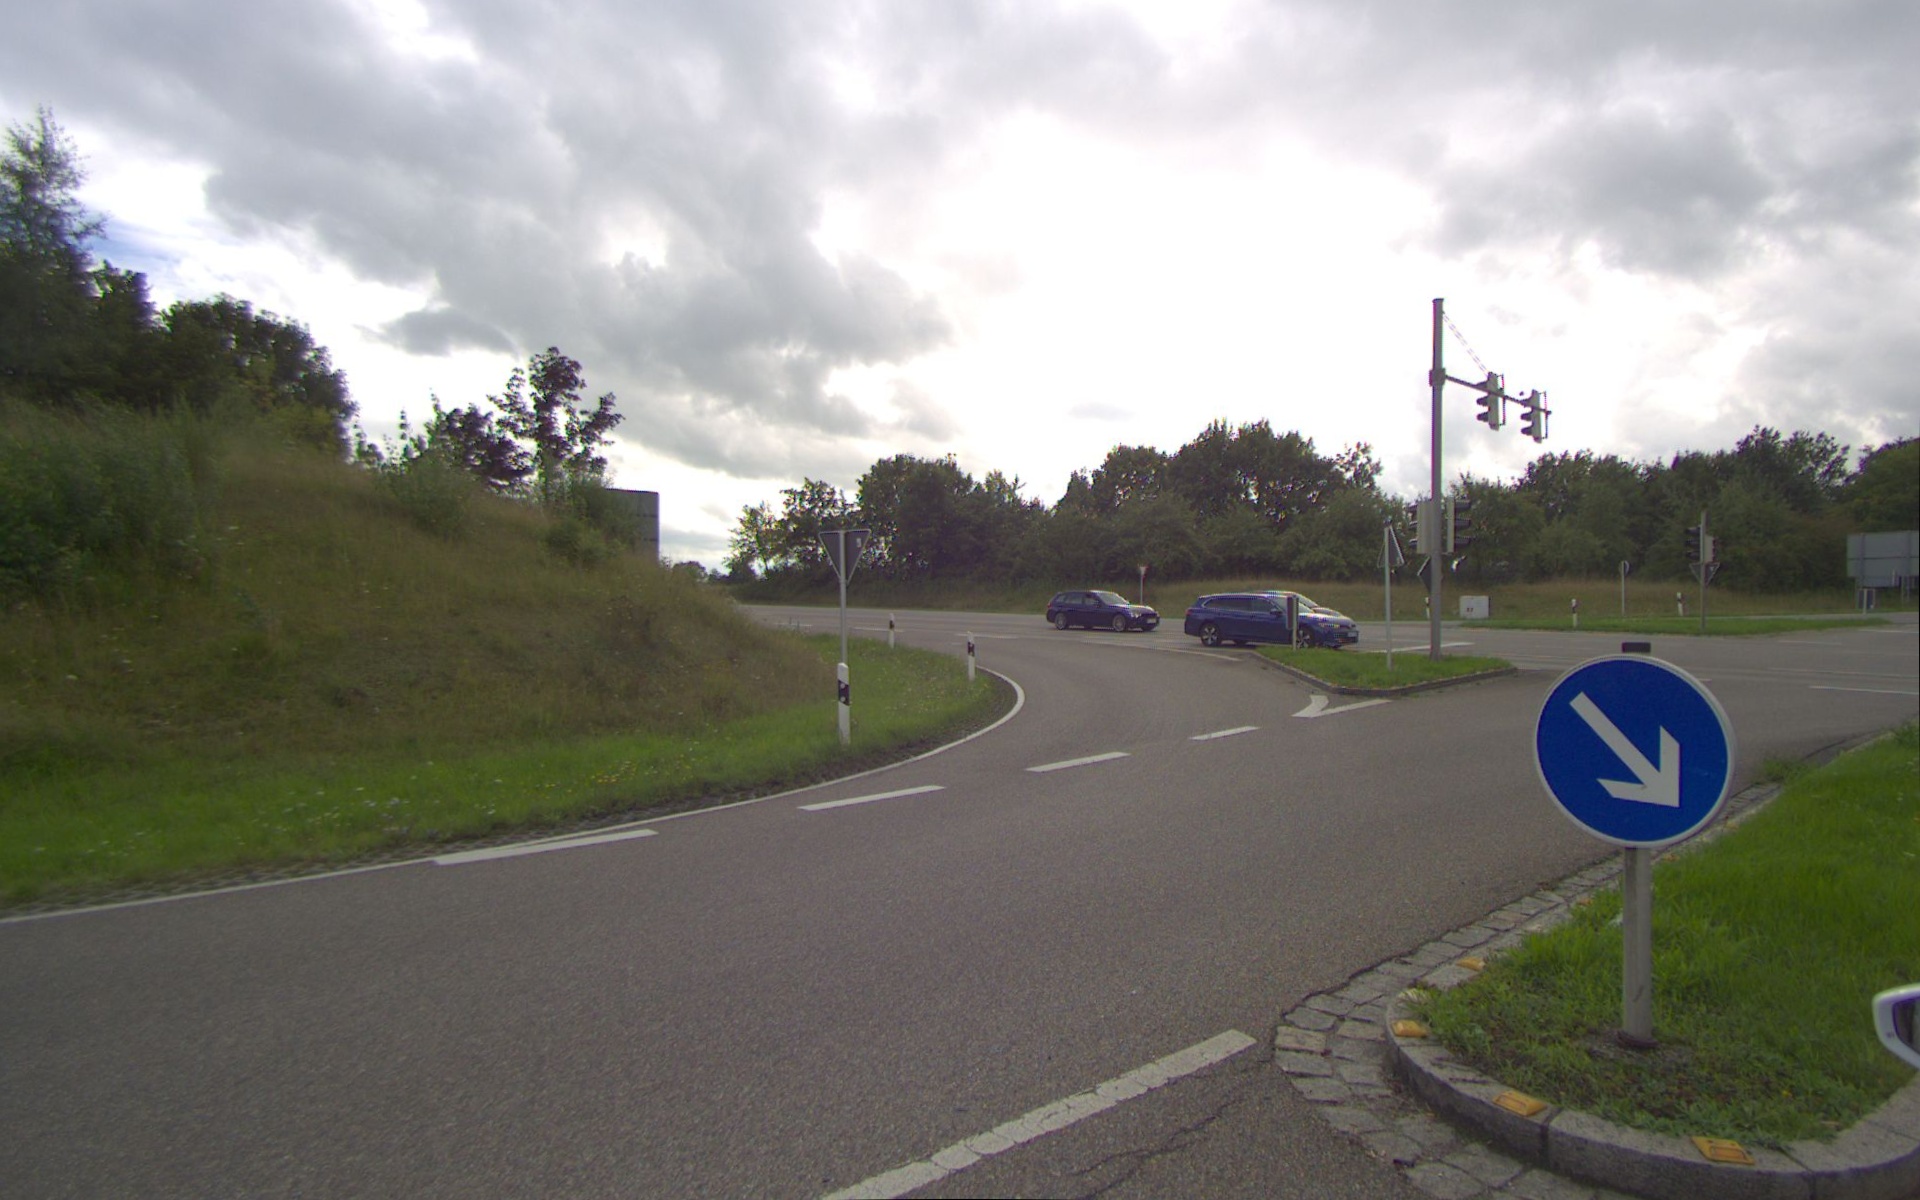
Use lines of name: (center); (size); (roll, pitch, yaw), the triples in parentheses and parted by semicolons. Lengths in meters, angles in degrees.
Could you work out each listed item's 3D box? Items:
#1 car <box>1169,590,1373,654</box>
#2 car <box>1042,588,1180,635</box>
car: (8.497, 0.534, 27.831); (2.038, 1.555, 5.060); (-1, 2, -44)
car: (5.464, 0.367, 36.764); (2.040, 1.504, 4.820); (-2, 2, -43)
